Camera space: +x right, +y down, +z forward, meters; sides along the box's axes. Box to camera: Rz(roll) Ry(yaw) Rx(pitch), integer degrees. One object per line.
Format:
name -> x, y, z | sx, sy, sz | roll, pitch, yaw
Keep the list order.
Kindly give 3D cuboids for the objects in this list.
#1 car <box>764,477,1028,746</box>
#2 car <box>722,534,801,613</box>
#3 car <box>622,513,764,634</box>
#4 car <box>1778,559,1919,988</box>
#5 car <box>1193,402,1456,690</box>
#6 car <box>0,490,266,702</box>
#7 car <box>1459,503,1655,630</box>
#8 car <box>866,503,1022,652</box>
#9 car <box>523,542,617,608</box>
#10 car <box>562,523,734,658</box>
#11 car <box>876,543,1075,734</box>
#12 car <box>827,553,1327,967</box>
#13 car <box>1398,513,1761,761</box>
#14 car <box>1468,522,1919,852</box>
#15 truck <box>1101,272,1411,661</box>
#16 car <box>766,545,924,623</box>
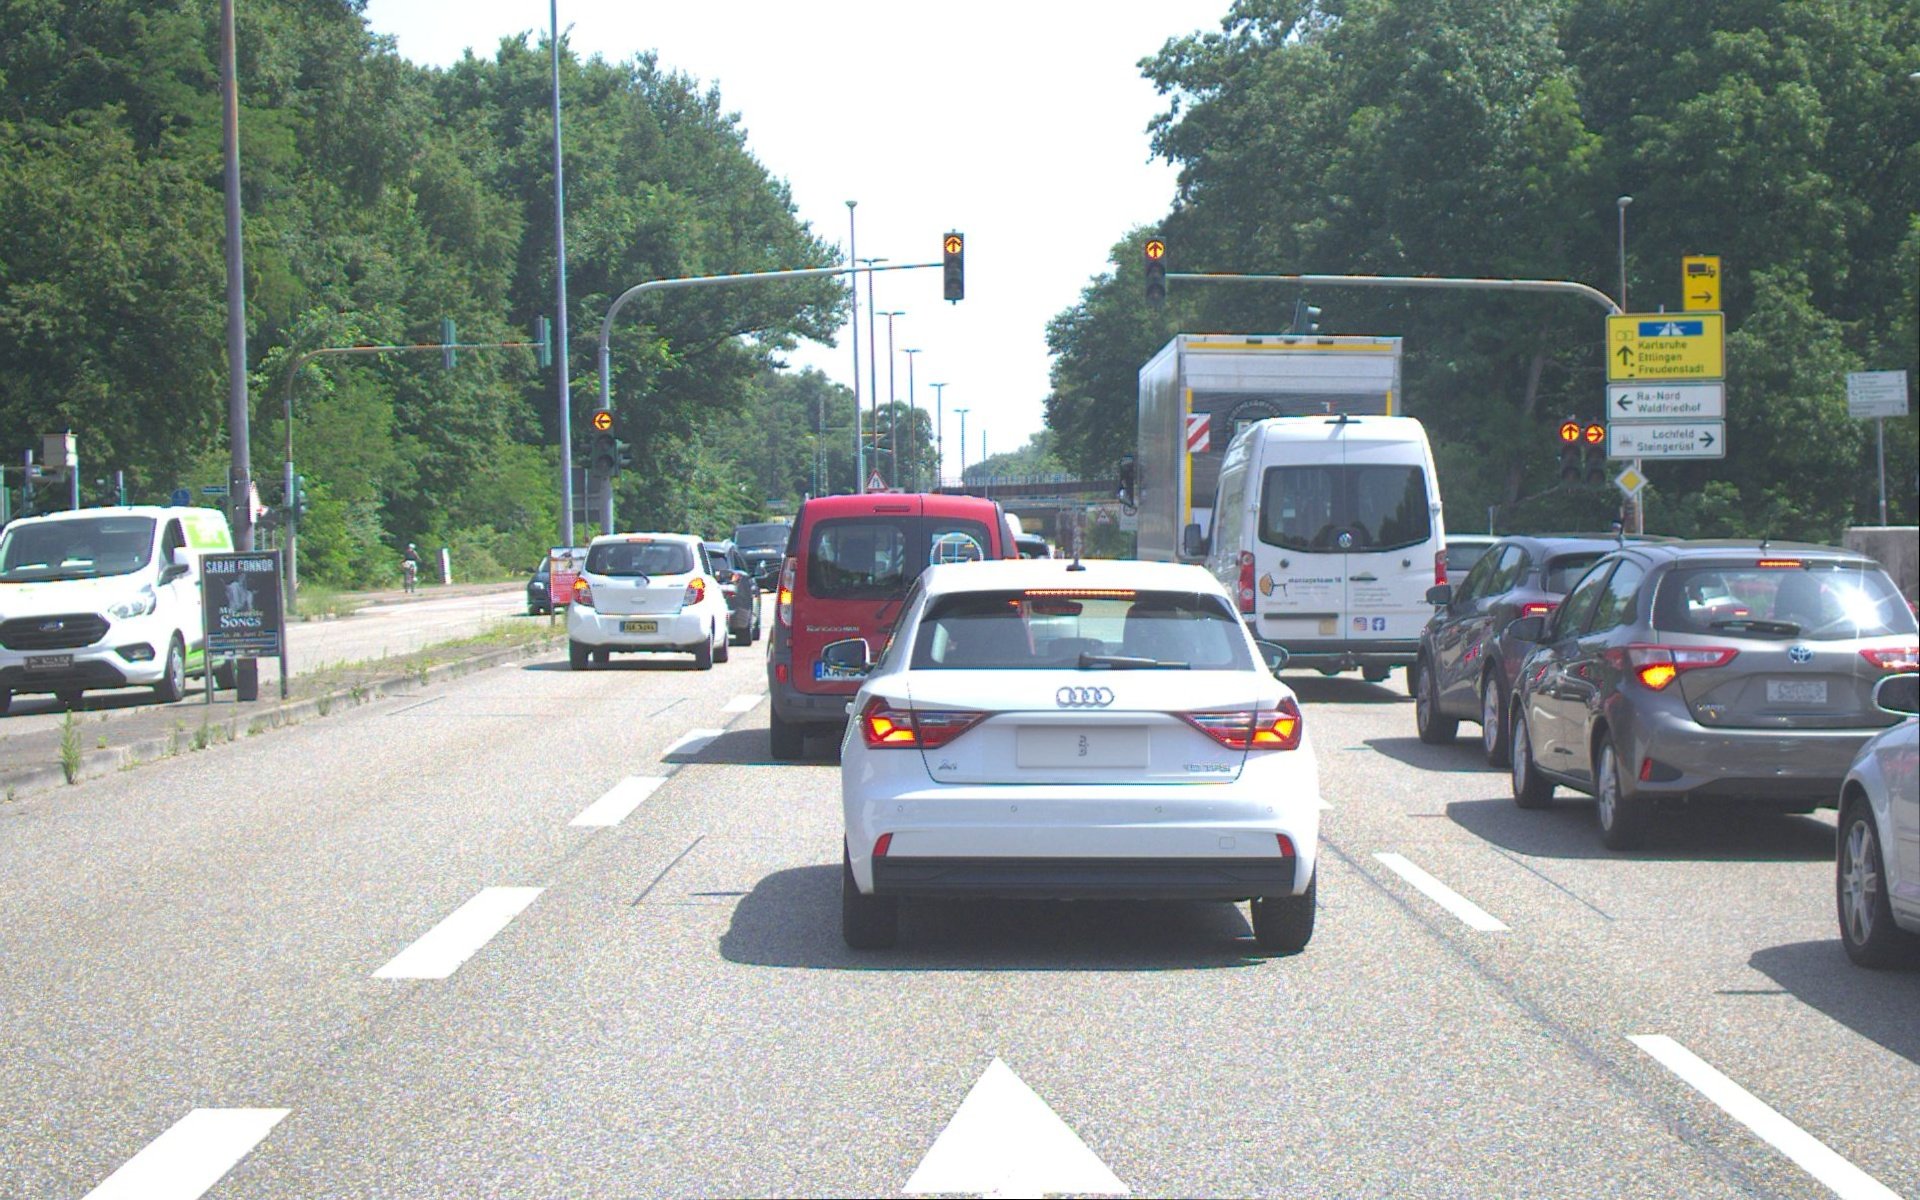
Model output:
car -> -0.462, 0.030, 24.367 | 1.712, 1.742, 4.092 | 0, 1, -1
car -> -5.303, -0.727, 91.446 | 1.993, 2.007, 4.001 | -1, 1, -4
car -> -3.727, -0.403, 48.560 | 1.774, 1.635, 4.037 | 0, 1, -1
car -> 3.949, 0.585, 10.723 | 1.712, 1.357, 4.092 | 1, 1, -1
car -> 3.489, -0.544, 33.823 | 2.031, 2.635, 4.845 | 0, 1, 0
car -> -8.605, -0.083, 35.177 | 1.993, 1.939, 4.909 | -3, 1, -1
car -> 7.560, -0.455, 43.887 | 1.712, 1.541, 4.092 | 0, 1, -1
car -> -0.224, -0.290, 39.765 | 1.712, 1.626, 4.092 | 0, 1, -1
car -> -8.823, -0.578, 77.953 | 1.678, 1.335, 4.000 | -4, 1, -1
car -> -3.582, -0.146, 40.000 | 1.712, 1.487, 4.092 | 0, 1, -1
car -> 0.090, 0.296, 31.627 | 1.712, 1.626, 4.092 | 0, 1, -1
car -> 0.356, 0.517, 13.793 | 1.712, 1.381, 4.092 | 0, 1, -1
car -> 4.217, 0.193, 24.017 | 1.712, 1.587, 4.092 | 0, 1, -1
car -> 3.898, 0.367, 18.013 | 1.712, 1.473, 4.092 | 3, 1, -1
truck -> 3.614, -1.650, 45.074 | 3.088, 4.418, 11.580 | 0, 1, 0
car -> -2.651, -0.365, 78.197 | 1.872, 1.683, 4.000 | -2, 1, -30
